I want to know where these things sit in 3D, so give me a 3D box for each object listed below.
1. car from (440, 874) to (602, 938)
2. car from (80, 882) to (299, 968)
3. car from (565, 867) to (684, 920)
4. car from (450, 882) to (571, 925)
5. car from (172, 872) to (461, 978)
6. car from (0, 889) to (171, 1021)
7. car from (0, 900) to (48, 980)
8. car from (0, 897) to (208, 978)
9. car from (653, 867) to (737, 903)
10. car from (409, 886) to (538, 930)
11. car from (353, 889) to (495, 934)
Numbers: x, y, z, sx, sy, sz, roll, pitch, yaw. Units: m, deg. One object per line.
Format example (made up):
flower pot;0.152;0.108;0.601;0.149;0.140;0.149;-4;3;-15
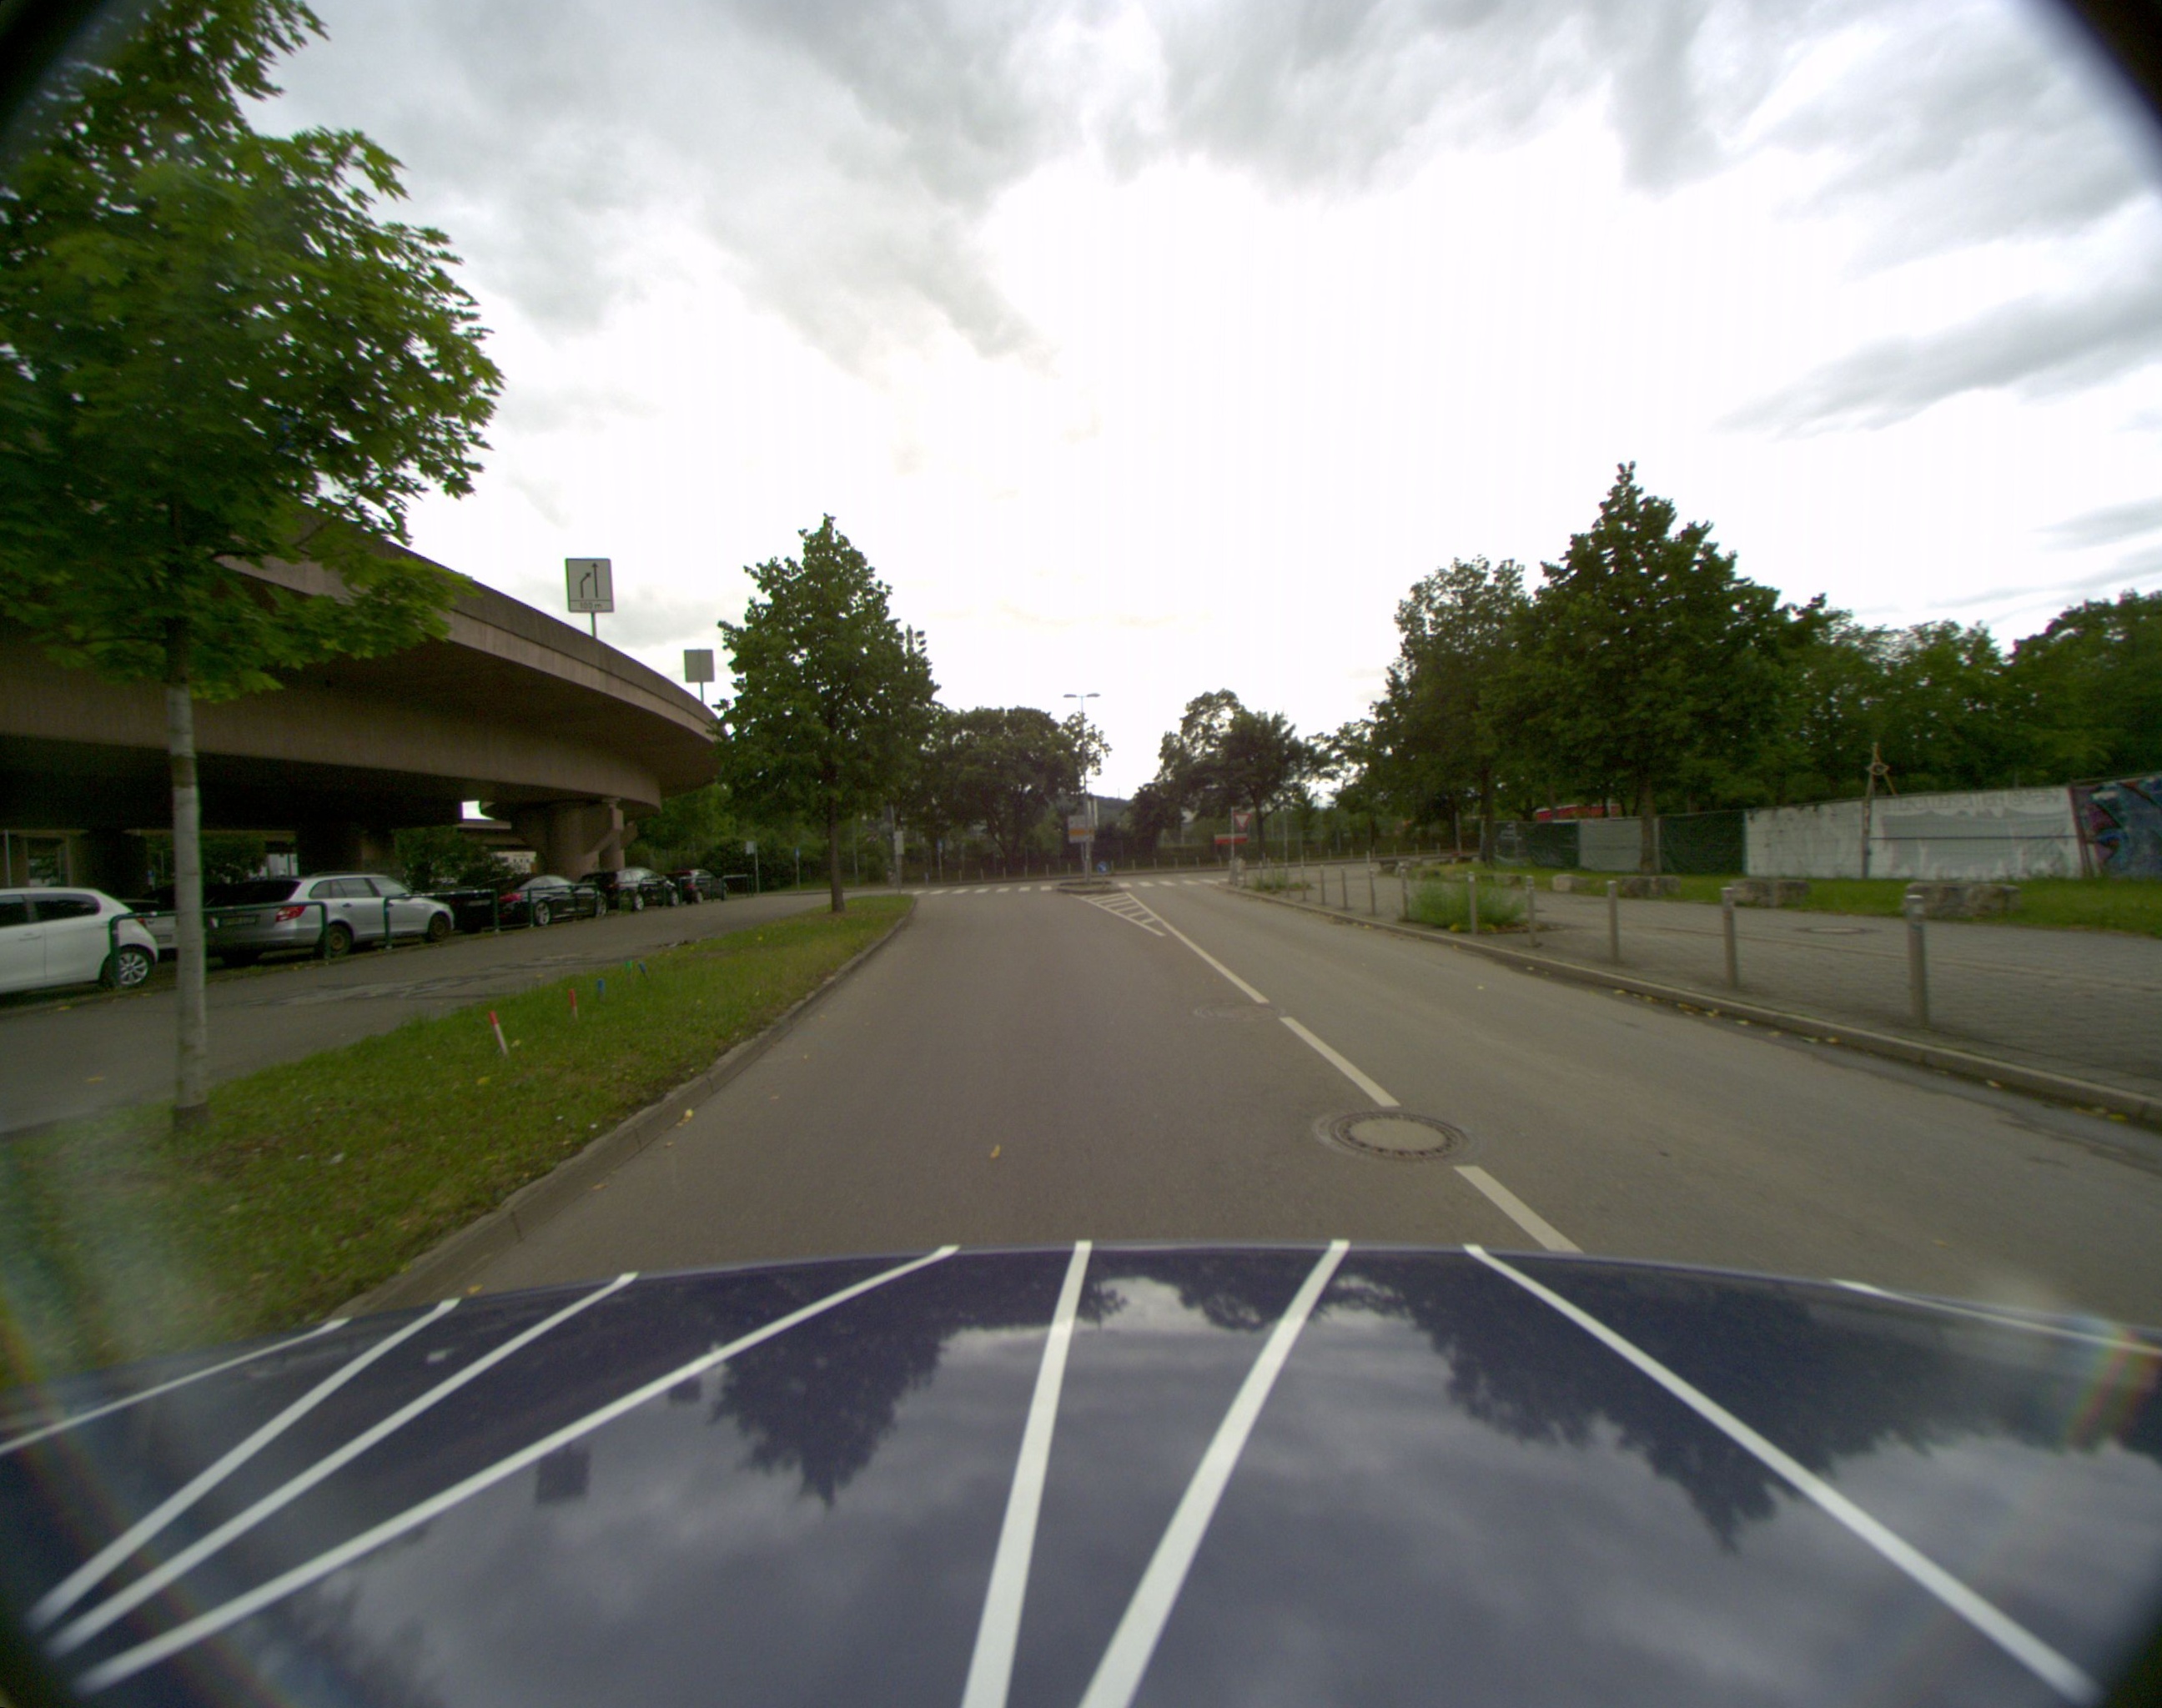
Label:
car;-14.453;1.274;19.896;1.627;1.308;3.775;-5;0;-6
car;-20.804;1.624;17.817;3.317;1.677;1.436;-3;0;0
car;-14.847;1.228;24.990;1.627;1.366;4.174;-8;1;-7
car;-21.946;1.888;29.305;3.472;1.375;1.424;-2;1;-2
car;-13.921;1.194;14.230;1.615;1.521;3.916;-4;0;-6
car;-13.437;1.265;8.828;1.610;1.437;3.474;-3;1;-5
car;-20.858;1.616;13.317;3.317;1.390;1.553;-3;0;0
car;-20.663;1.724;15.816;3.317;1.401;1.351;-3;0;0
car;-15.401;1.186;30.532;1.627;1.231;4.057;-3;0;-7
car;-21.542;1.904;27.033;3.312;1.297;1.487;-2;1;-1
car;-21.147;1.842;24.527;3.317;1.192;1.351;-3;0;0
